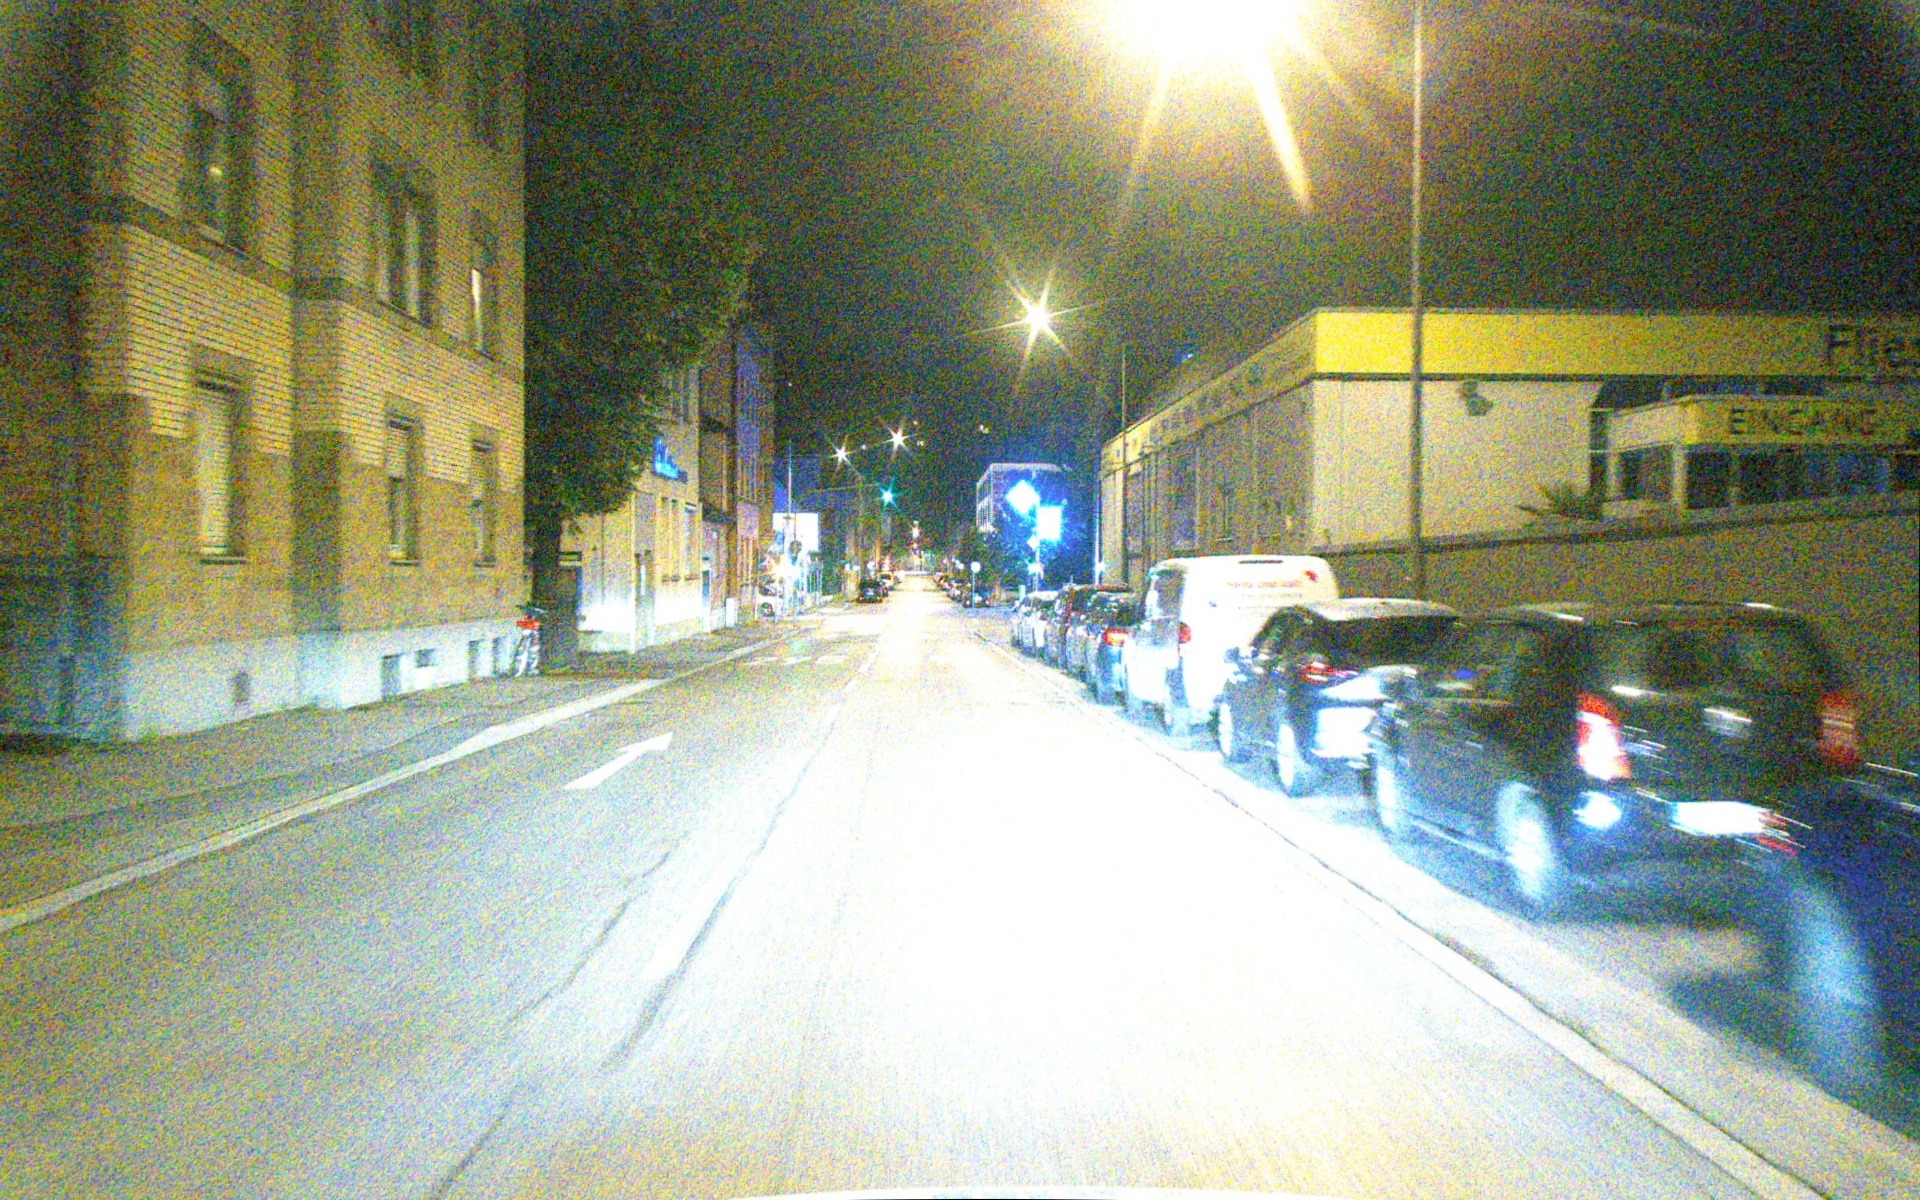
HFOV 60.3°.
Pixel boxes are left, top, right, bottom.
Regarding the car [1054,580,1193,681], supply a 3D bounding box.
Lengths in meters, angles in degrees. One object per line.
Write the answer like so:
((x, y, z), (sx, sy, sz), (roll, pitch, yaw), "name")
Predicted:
((2.801, 0.468, 29.256), (1.787, 1.616, 4.626), (-1, 1, -3), "car")

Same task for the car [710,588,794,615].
((-11.244, 0.080, 89.733), (4.349, 1.475, 1.999), (0, 0, -2), "car")

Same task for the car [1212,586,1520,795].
((3.207, 0.654, 13.794), (1.562, 1.492, 3.891), (0, 0, -1), "car")

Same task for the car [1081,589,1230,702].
((2.773, 0.596, 24.233), (1.779, 1.452, 4.190), (-1, 1, 2), "car")

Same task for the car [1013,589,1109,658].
((2.368, 0.531, 39.853), (1.739, 1.571, 4.543), (0, 0, -4), "car")

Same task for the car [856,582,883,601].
((-7.215, -0.676, 132.232), (1.953, 1.528, 3.999), (0, 0, -1), "car")

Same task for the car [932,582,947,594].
((-2.592, -1.545, 210.090), (1.953, 1.546, 4.000), (0, 0, 0), "car")

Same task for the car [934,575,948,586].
((-2.664, -2.719, 233.308), (1.953, 1.546, 4.000), (0, 0, 0), "car")

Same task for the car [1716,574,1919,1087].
((3.620, 0.657, 3.961), (1.743, 1.451, 3.890), (0, 0, -2), "car")

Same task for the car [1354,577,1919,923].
((3.398, 0.651, 9.017), (1.562, 1.492, 3.718), (0, 0, -1), "car")

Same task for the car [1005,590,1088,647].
((2.368, 0.499, 46.362), (1.823, 1.515, 4.543), (0, 0, -4), "car")

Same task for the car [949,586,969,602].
((-0.116, -0.541, 162.305), (1.953, 1.546, 4.000), (0, 0, 0), "car")

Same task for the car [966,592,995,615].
((1.389, 0.226, 114.183), (1.953, 1.542, 4.000), (1, 1, 0), "car")

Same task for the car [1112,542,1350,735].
((2.998, 0.357, 19.293), (1.764, 1.907, 4.772), (-2, 1, -2), "car")

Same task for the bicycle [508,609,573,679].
((-6.711, 0.684, 26.521), (0.607, 1.070, 1.721), (0, 0, -1), "bicycle")

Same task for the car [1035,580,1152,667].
((2.680, 0.422, 34.147), (1.787, 1.651, 4.455), (-1, 1, -4), "car")

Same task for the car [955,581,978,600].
((0.542, -0.742, 137.787), (1.953, 1.546, 4.000), (0, 0, 0), "car")
